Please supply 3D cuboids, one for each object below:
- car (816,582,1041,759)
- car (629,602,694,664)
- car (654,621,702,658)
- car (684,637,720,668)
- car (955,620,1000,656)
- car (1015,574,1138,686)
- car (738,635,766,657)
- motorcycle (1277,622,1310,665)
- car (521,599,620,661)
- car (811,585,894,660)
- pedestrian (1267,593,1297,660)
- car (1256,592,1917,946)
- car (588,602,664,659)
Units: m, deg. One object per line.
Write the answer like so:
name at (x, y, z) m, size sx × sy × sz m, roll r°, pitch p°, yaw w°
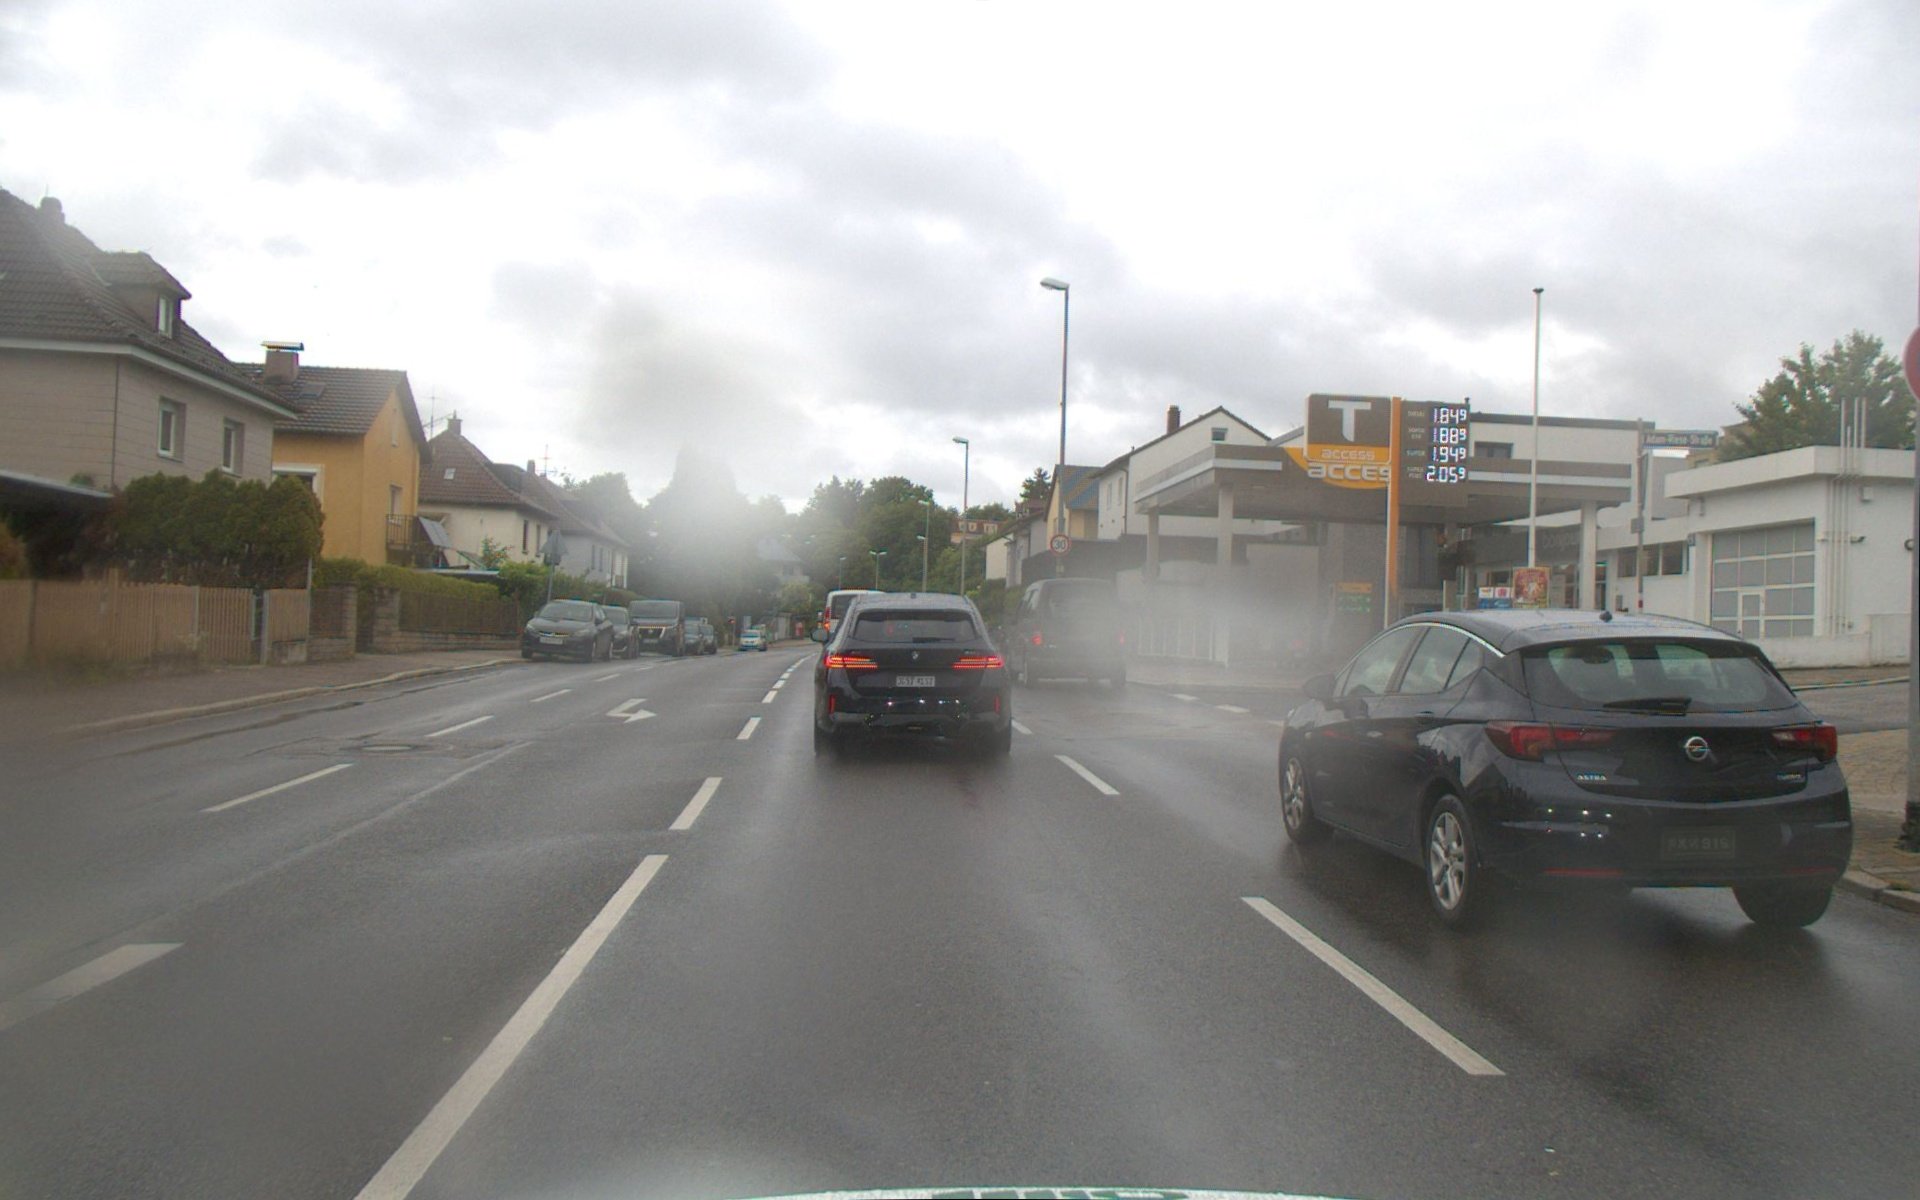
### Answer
car at (-0.390, 0.686, 16.566) m, size 1.954 × 1.510 × 3.996 m, roll 1°, pitch -2°, yaw -3°
car at (-10.500, 1.205, 58.503) m, size 1.876 × 2.038 × 5.080 m, roll 1°, pitch -2°, yaw -6°
car at (-12.525, 1.779, 73.754) m, size 1.723 × 1.560 × 4.281 m, roll 1°, pitch -2°, yaw -5°
car at (-12.467, 2.553, 80.148) m, size 1.521 × 1.456 × 4.008 m, roll 2°, pitch -2°, yaw -6°
car at (0.790, 1.773, 76.211) m, size 1.667 × 1.537 × 4.529 m, roll 1°, pitch -2°, yaw -4°
car at (1.986, 0.563, 29.206) m, size 1.801 × 1.798 × 3.999 m, roll 1°, pitch -2°, yaw -1°
car at (-15.916, 3.506, 126.465) m, size 1.847 × 1.613 × 3.996 m, roll 1°, pitch -2°, yaw -4°
motorcycle at (8.455, 1.103, 41.924) m, size 0.453 × 1.074 × 1.389 m, roll 1°, pitch -2°, yaw -4°
car at (-9.828, 0.794, 41.980) m, size 1.715 × 1.465 × 4.126 m, roll 1°, pitch -2°, yaw -3°
car at (-2.681, 0.617, 41.928) m, size 1.954 × 1.768 × 3.997 m, roll 1°, pitch -2°, yaw -3°
pedestrian at (8.205, 0.679, 42.109) m, size 0.598 × 1.685 × 0.585 m, roll 1°, pitch -2°, yaw -4°
car at (3.030, 0.726, 8.988) m, size 1.723 × 1.475 × 3.995 m, roll 1°, pitch 0°, yaw -6°
car at (-9.751, 0.917, 48.558) m, size 1.716 × 1.543 × 4.521 m, roll 1°, pitch -2°, yaw -6°
